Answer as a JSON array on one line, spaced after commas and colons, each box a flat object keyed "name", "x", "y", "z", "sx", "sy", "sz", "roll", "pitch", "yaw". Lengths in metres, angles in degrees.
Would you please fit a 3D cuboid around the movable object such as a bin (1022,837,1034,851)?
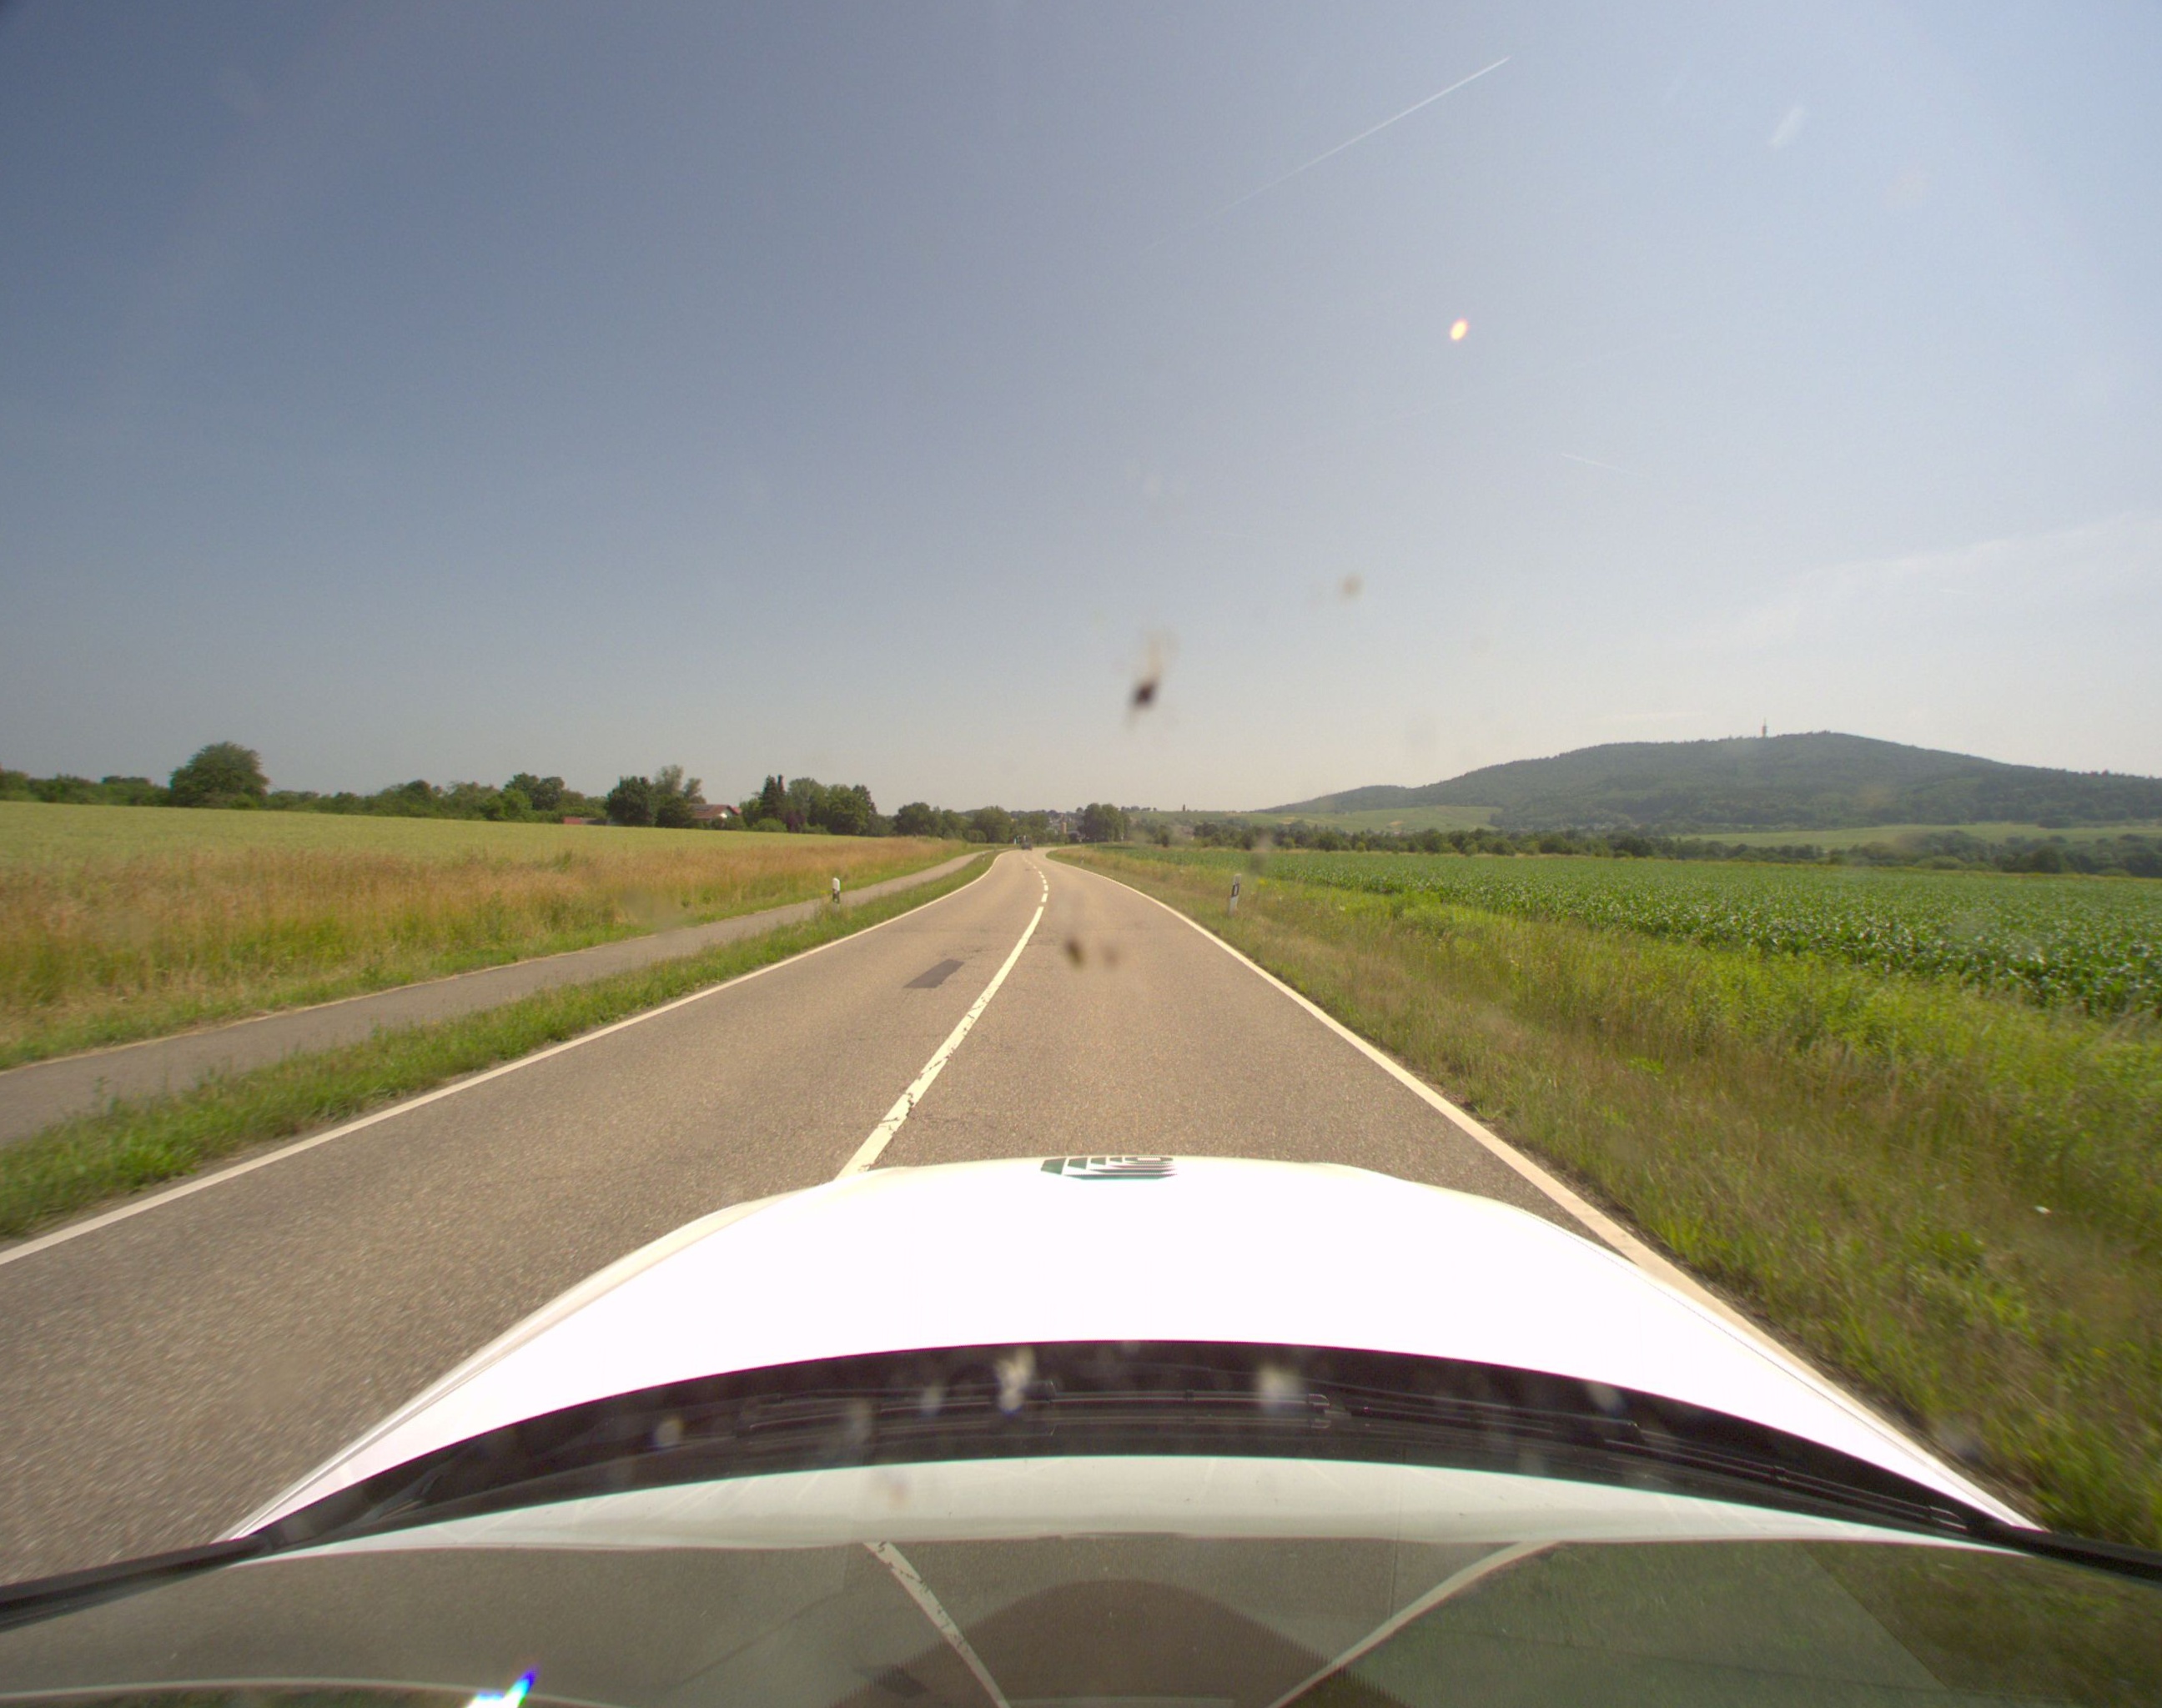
[{"name": "movable object such as a bin", "x": -10.600, "y": -2.035, "z": 164.375, "sx": 1.995, "sy": 2.754, "sz": 5.227, "roll": 4, "pitch": 1, "yaw": -2}]
